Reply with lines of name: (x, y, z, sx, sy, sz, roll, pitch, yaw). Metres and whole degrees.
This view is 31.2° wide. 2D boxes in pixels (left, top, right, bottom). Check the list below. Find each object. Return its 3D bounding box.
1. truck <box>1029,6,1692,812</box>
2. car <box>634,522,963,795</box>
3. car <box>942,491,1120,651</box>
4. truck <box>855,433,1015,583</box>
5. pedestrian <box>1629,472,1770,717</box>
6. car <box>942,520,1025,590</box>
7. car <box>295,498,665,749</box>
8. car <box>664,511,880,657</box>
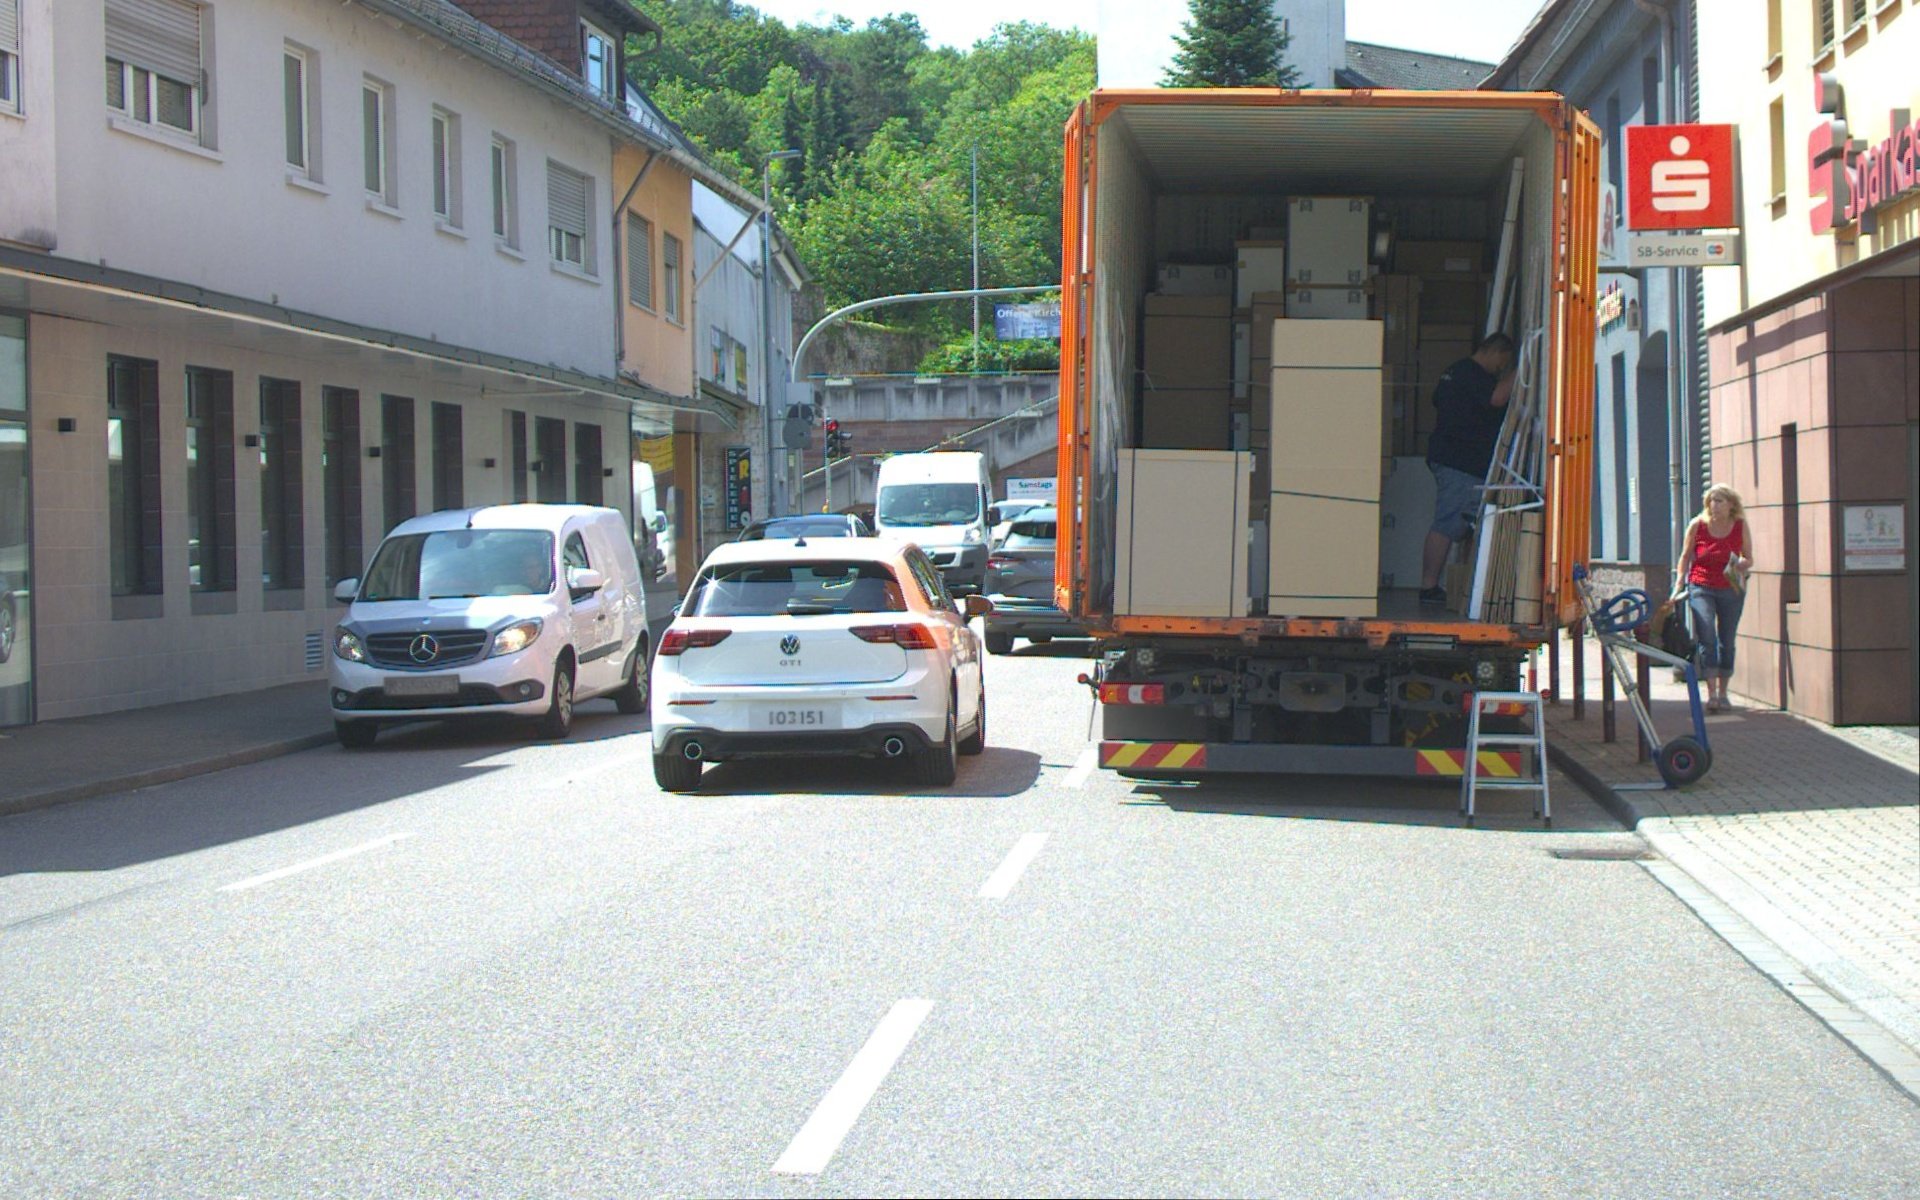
truck: (2.322, -1.027, 23.017, 3.367, 4.156, 9.518, -2, 0, 2)
car: (-0.894, 0.319, 21.071, 1.815, 1.514, 4.000, 0, 0, 0)
car: (0.751, -0.313, 38.239, 1.815, 1.623, 4.000, -2, 0, 0)
truck: (-0.379, -1.581, 61.202, 2.118, 2.466, 5.735, -2, 0, 6)
pedestrian: (5.415, -0.042, 25.211, 0.769, 1.736, 0.871, -2, 0, -1)
car: (0.561, -1.006, 78.461, 1.761, 1.493, 4.000, -2, 0, 2)
car: (-3.709, 0.116, 27.434, 1.802, 1.773, 4.704, -2, 1, 6)
car: (-2.255, -0.195, 42.366, 1.994, 1.645, 3.999, -2, 0, 6)
